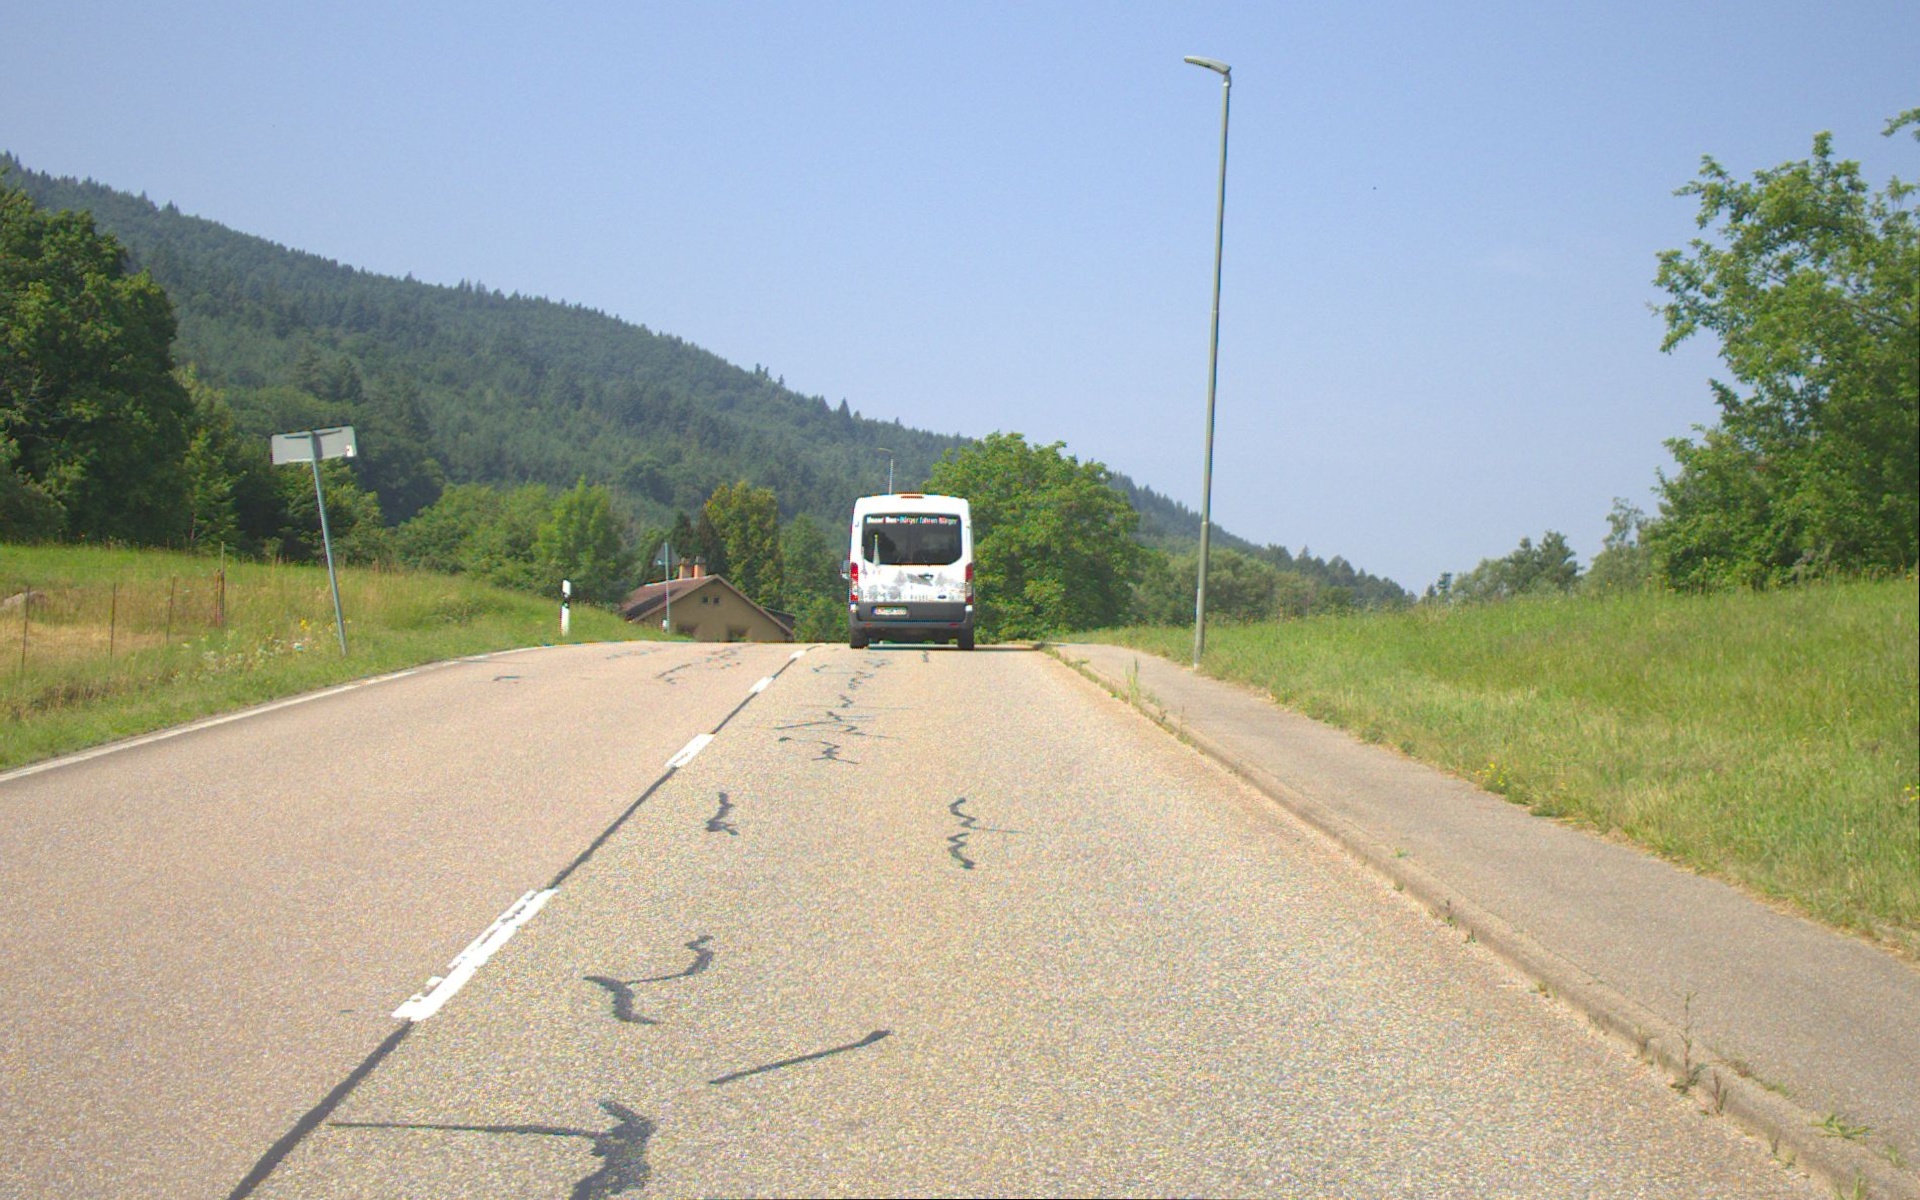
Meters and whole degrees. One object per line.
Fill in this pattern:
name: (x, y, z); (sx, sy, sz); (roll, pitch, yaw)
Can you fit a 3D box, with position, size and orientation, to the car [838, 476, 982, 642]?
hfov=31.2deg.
car: (-0.824, -0.610, 56.354); (2.222, 2.517, 4.984); (-1, -1, -1)
